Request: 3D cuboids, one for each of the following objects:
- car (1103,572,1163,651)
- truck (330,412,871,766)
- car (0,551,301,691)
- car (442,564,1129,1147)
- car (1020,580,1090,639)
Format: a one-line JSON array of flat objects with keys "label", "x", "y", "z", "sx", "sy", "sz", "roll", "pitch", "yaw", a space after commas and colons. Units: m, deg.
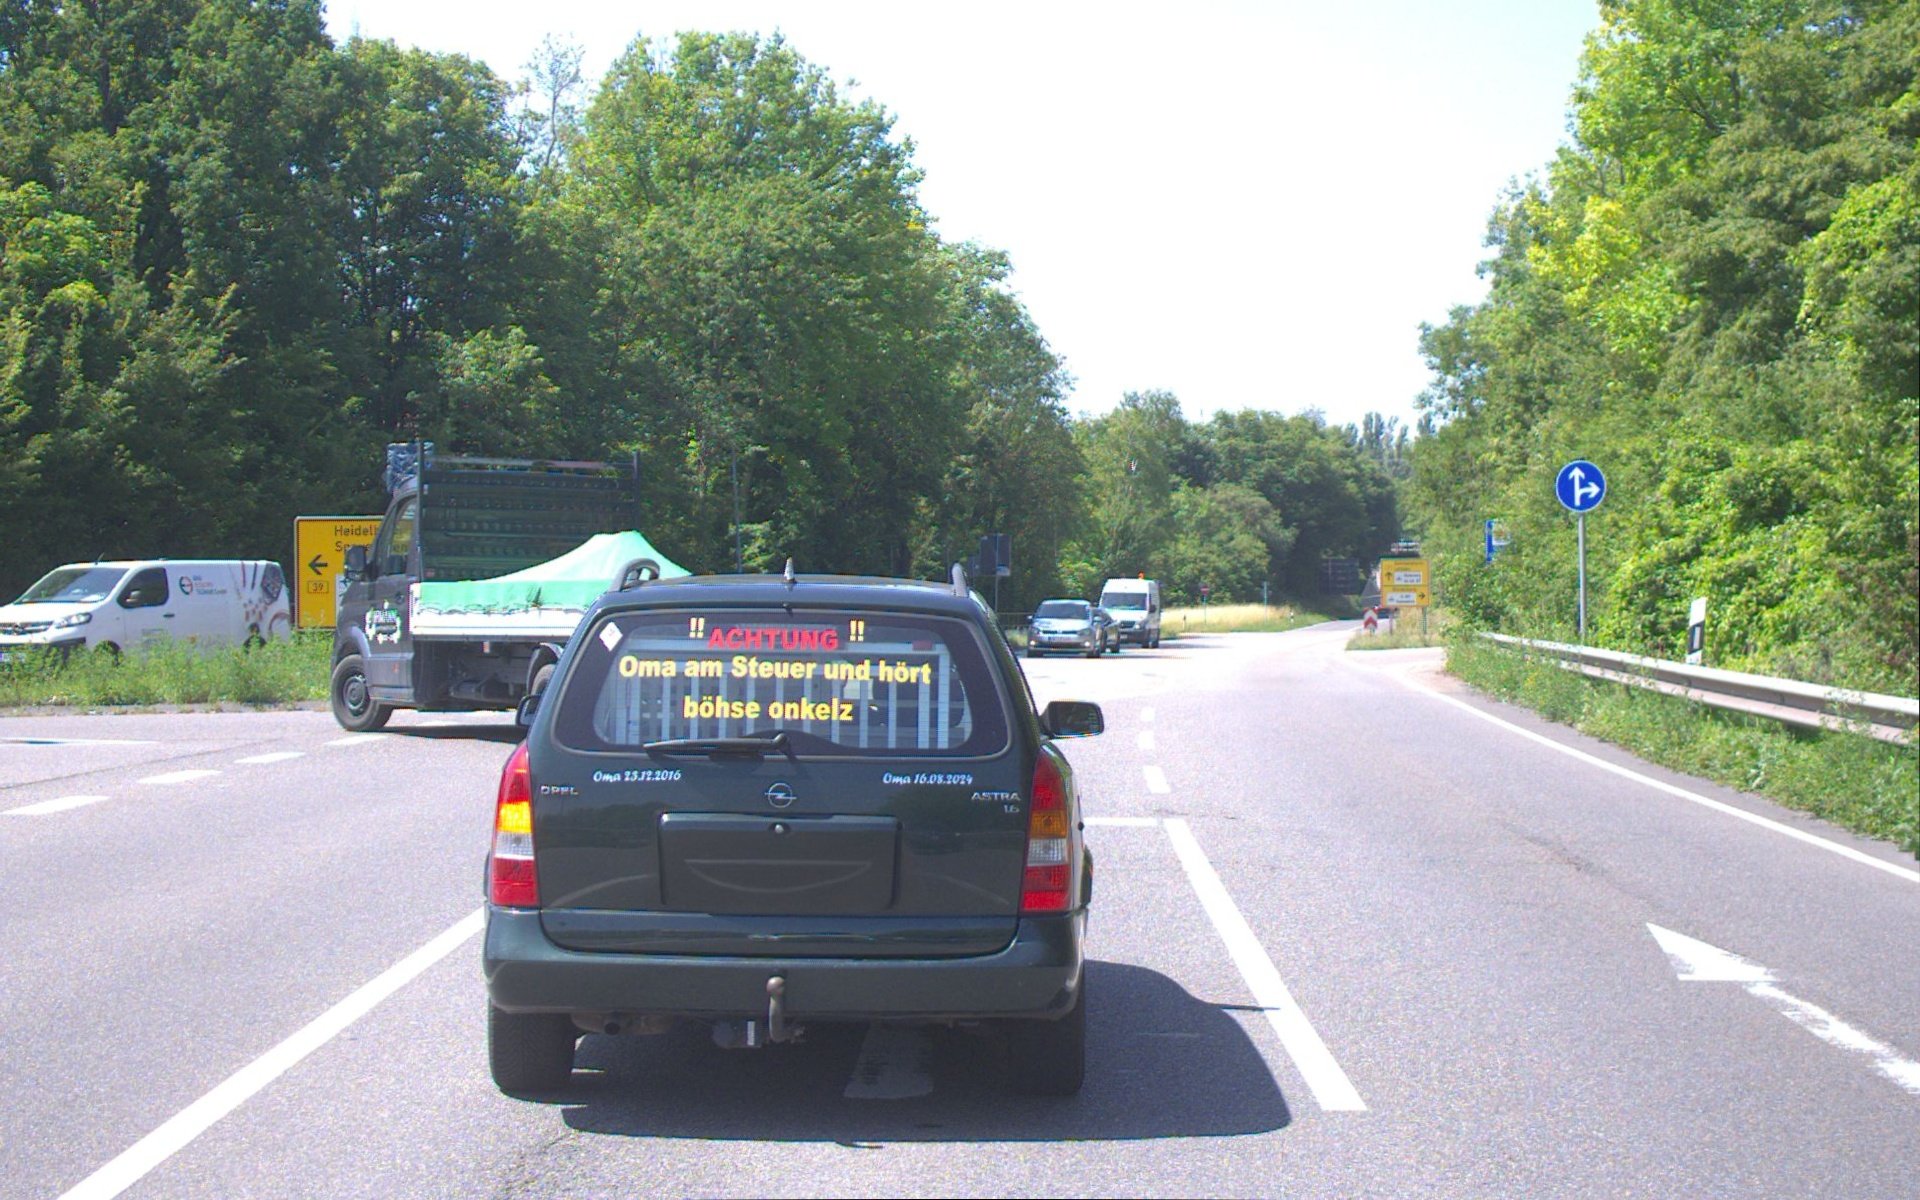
[{"label": "car", "x": 6.520, "y": 0.413, "z": 128.832, "sx": 2.105, "sy": 2.840, "sz": 6.011, "roll": 1, "pitch": 0, "yaw": 4}, {"label": "truck", "x": -3.155, "y": -0.126, "z": 28.309, "sx": 2.138, "sy": 2.556, "sz": 6.640, "roll": 0, "pitch": 1, "yaw": -27}, {"label": "car", "x": -12.082, "y": 0.256, "z": 50.369, "sx": 2.013, "sy": 1.917, "sz": 5.187, "roll": 1, "pitch": 1, "yaw": 27}, {"label": "car", "x": -0.426, "y": 0.631, "z": 10.591, "sx": 1.720, "sy": 1.452, "sz": 3.797, "roll": 1, "pitch": 0, "yaw": 1}, {"label": "car", "x": 2.368, "y": 0.226, "z": 85.113, "sx": 1.644, "sy": 1.414, "sz": 3.766, "roll": 1, "pitch": 0, "yaw": 3}]
